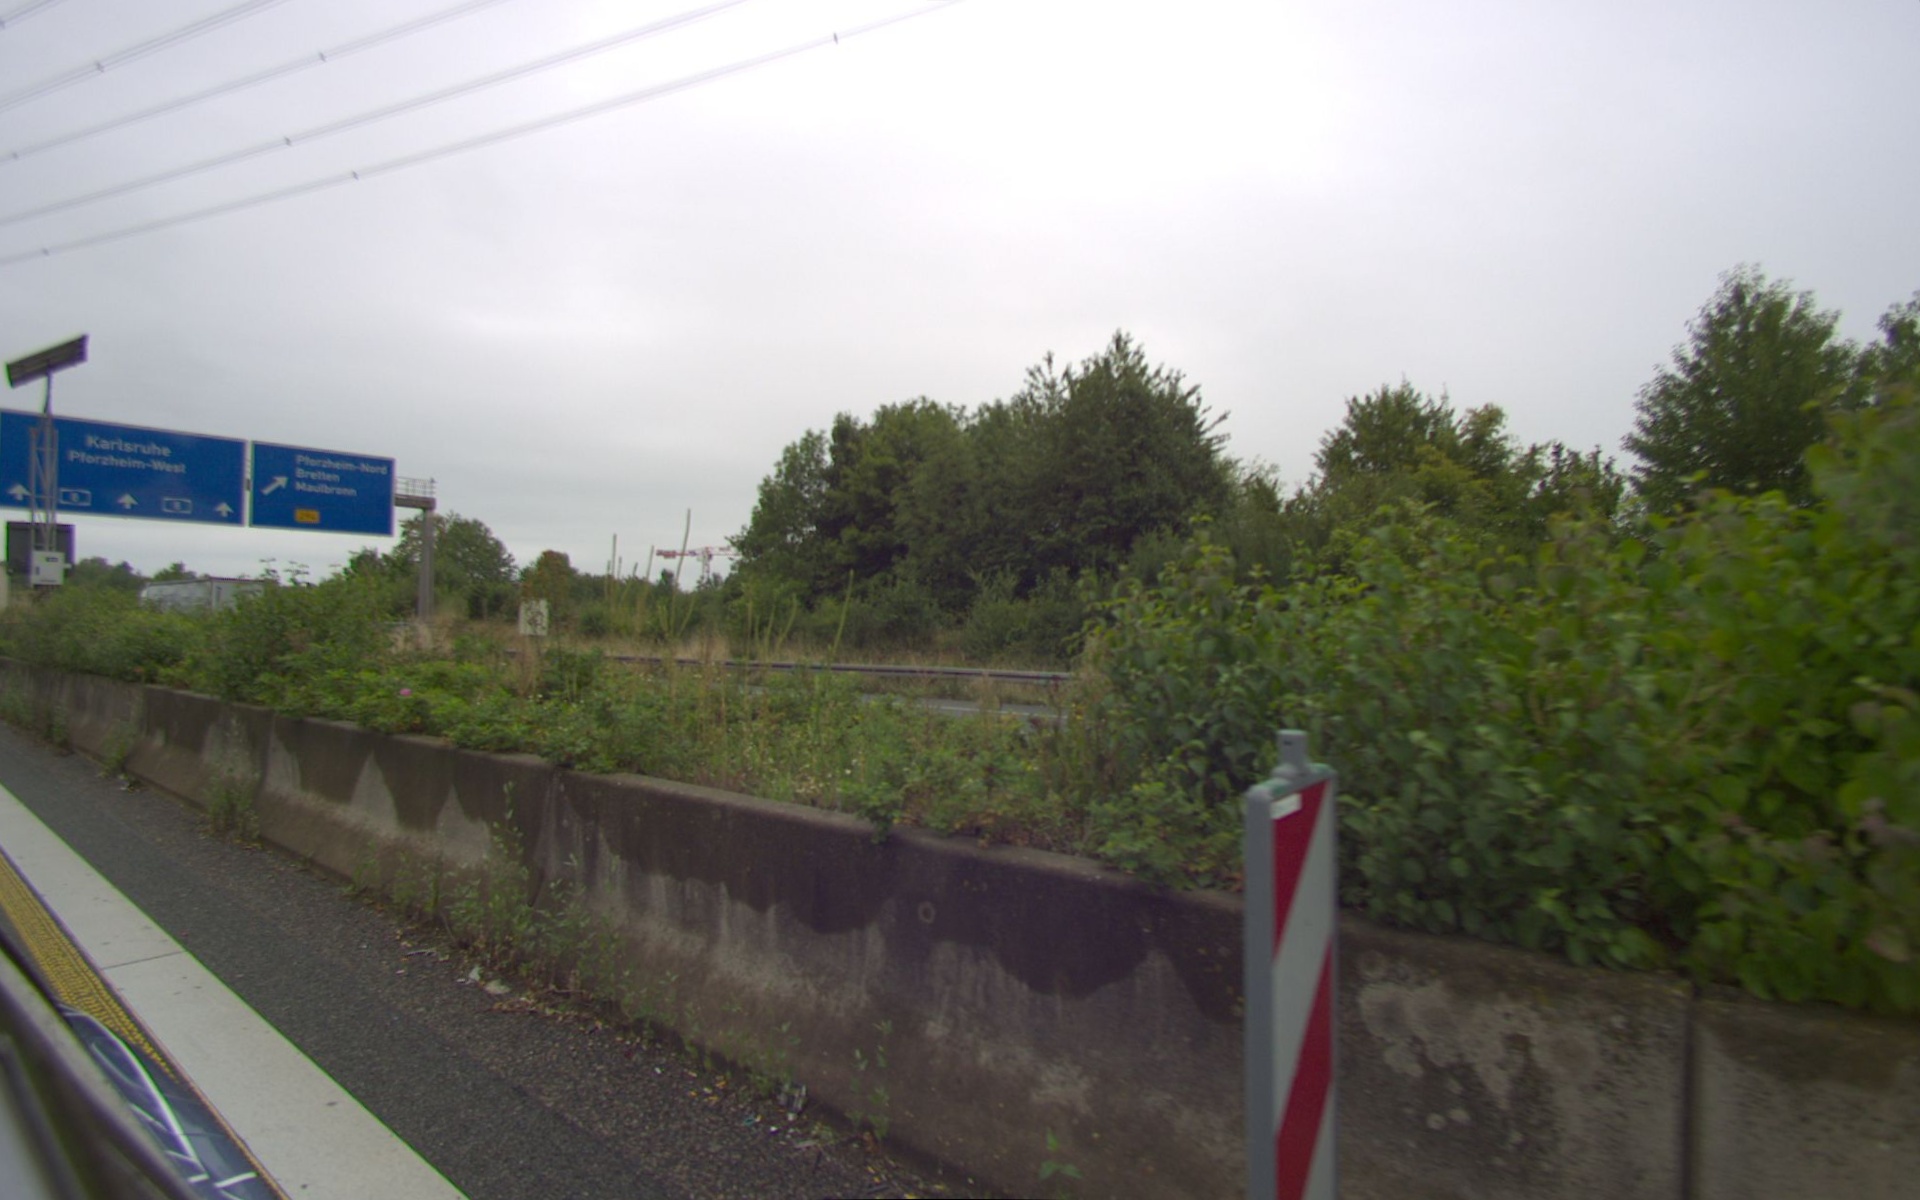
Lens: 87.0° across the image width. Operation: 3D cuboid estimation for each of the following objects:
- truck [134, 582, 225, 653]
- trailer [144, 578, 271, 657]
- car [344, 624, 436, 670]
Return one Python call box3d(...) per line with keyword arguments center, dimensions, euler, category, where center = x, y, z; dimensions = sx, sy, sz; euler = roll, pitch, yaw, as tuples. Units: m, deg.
box3d(center=(-47.715, 1.128, 61.811), dimensions=(7.228, 4.054, 2.757), euler=(-1, -4, 40), category="truck")
box3d(center=(-43.458, 1.058, 58.193), dimensions=(13.241, 4.054, 2.757), euler=(-1, -4, 40), category="trailer")
box3d(center=(-22.961, 1.853, 40.697), dimensions=(3.998, 1.762, 1.973), euler=(-1, -3, 41), category="car")
